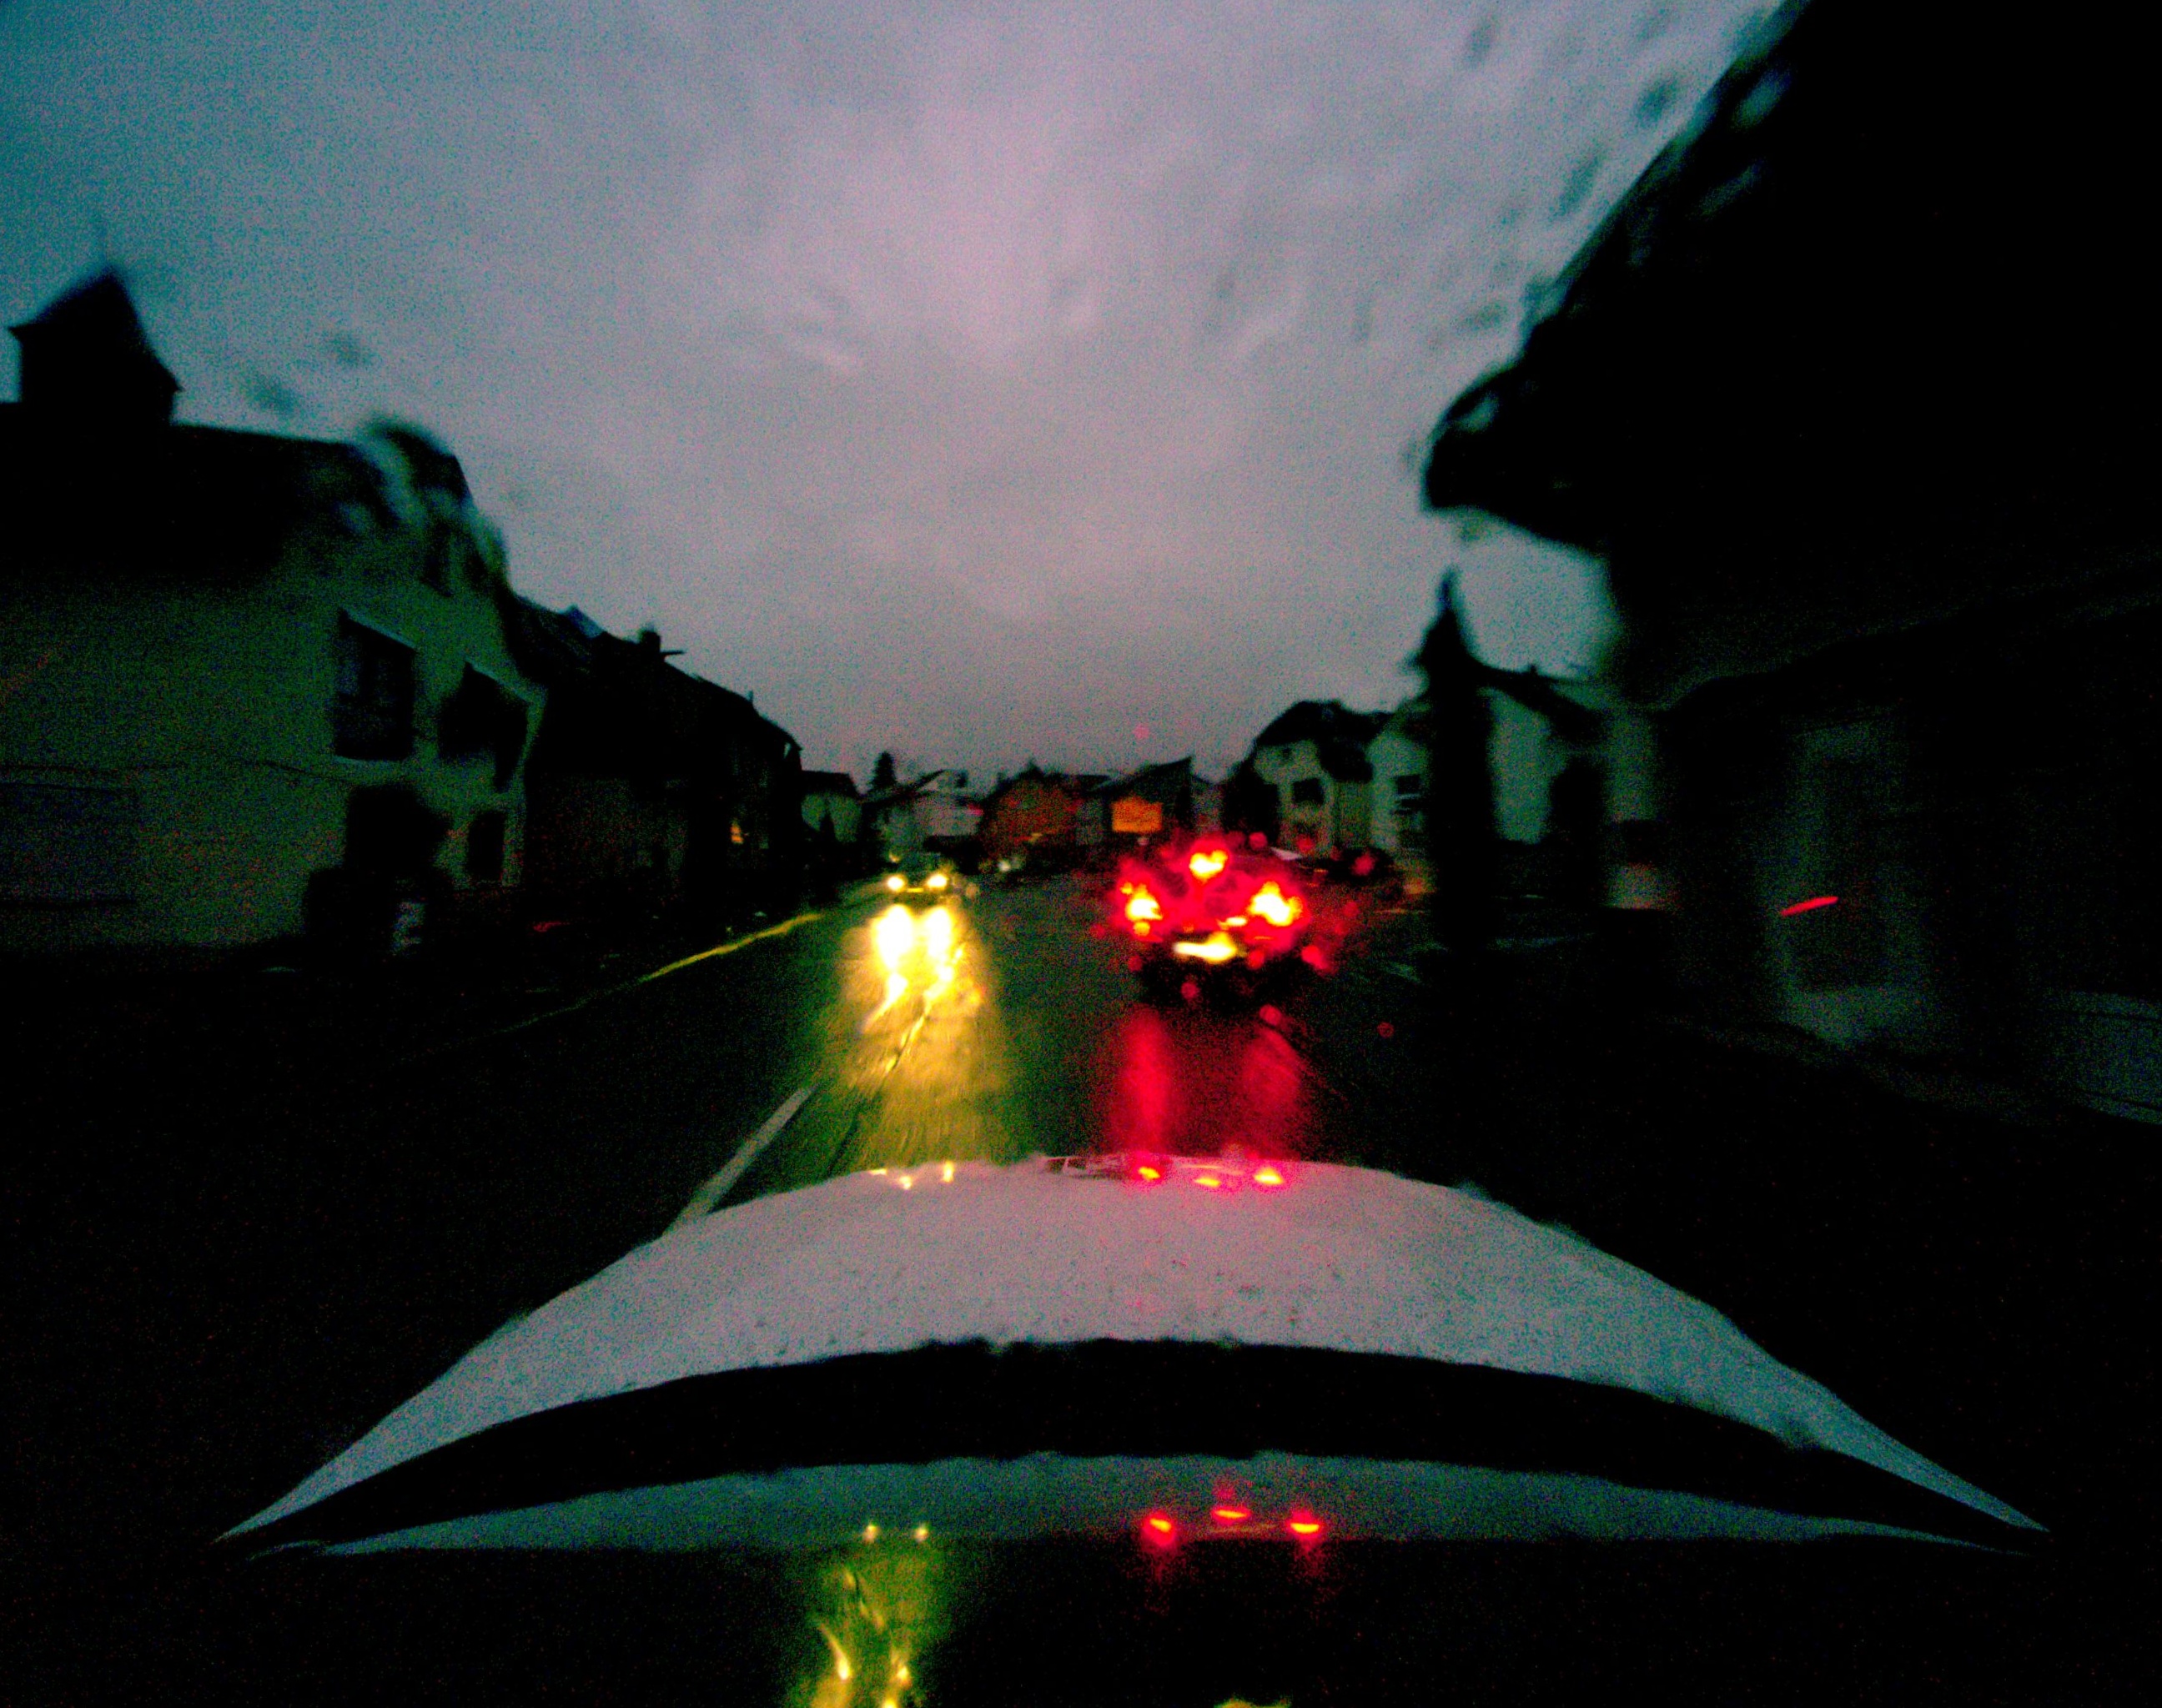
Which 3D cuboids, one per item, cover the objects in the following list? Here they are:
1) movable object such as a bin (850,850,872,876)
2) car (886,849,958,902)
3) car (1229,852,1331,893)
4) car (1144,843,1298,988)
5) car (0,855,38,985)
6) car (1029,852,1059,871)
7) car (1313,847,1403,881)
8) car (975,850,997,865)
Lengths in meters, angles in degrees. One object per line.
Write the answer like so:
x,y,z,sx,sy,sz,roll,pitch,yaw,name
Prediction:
-13.080,0.530,48.458,1.094,1.543,1.286,0,0,-6,movable object such as a bin
-5.283,0.653,27.502,1.909,1.653,3.994,0,0,-5,car
8.842,0.816,36.594,1.821,1.628,4.507,-3,0,-30,car
1.910,0.633,10.234,1.534,1.466,3.714,-1,0,15,car
-14.037,0.738,8.233,3.992,1.462,1.812,0,0,-14,car
-3.386,0.631,74.692,1.997,1.644,3.981,0,0,-14,car
13.728,0.510,40.567,1.821,1.566,3.961,-3,0,-30,car
-10.965,0.381,93.328,1.997,1.644,3.981,0,0,-14,car
